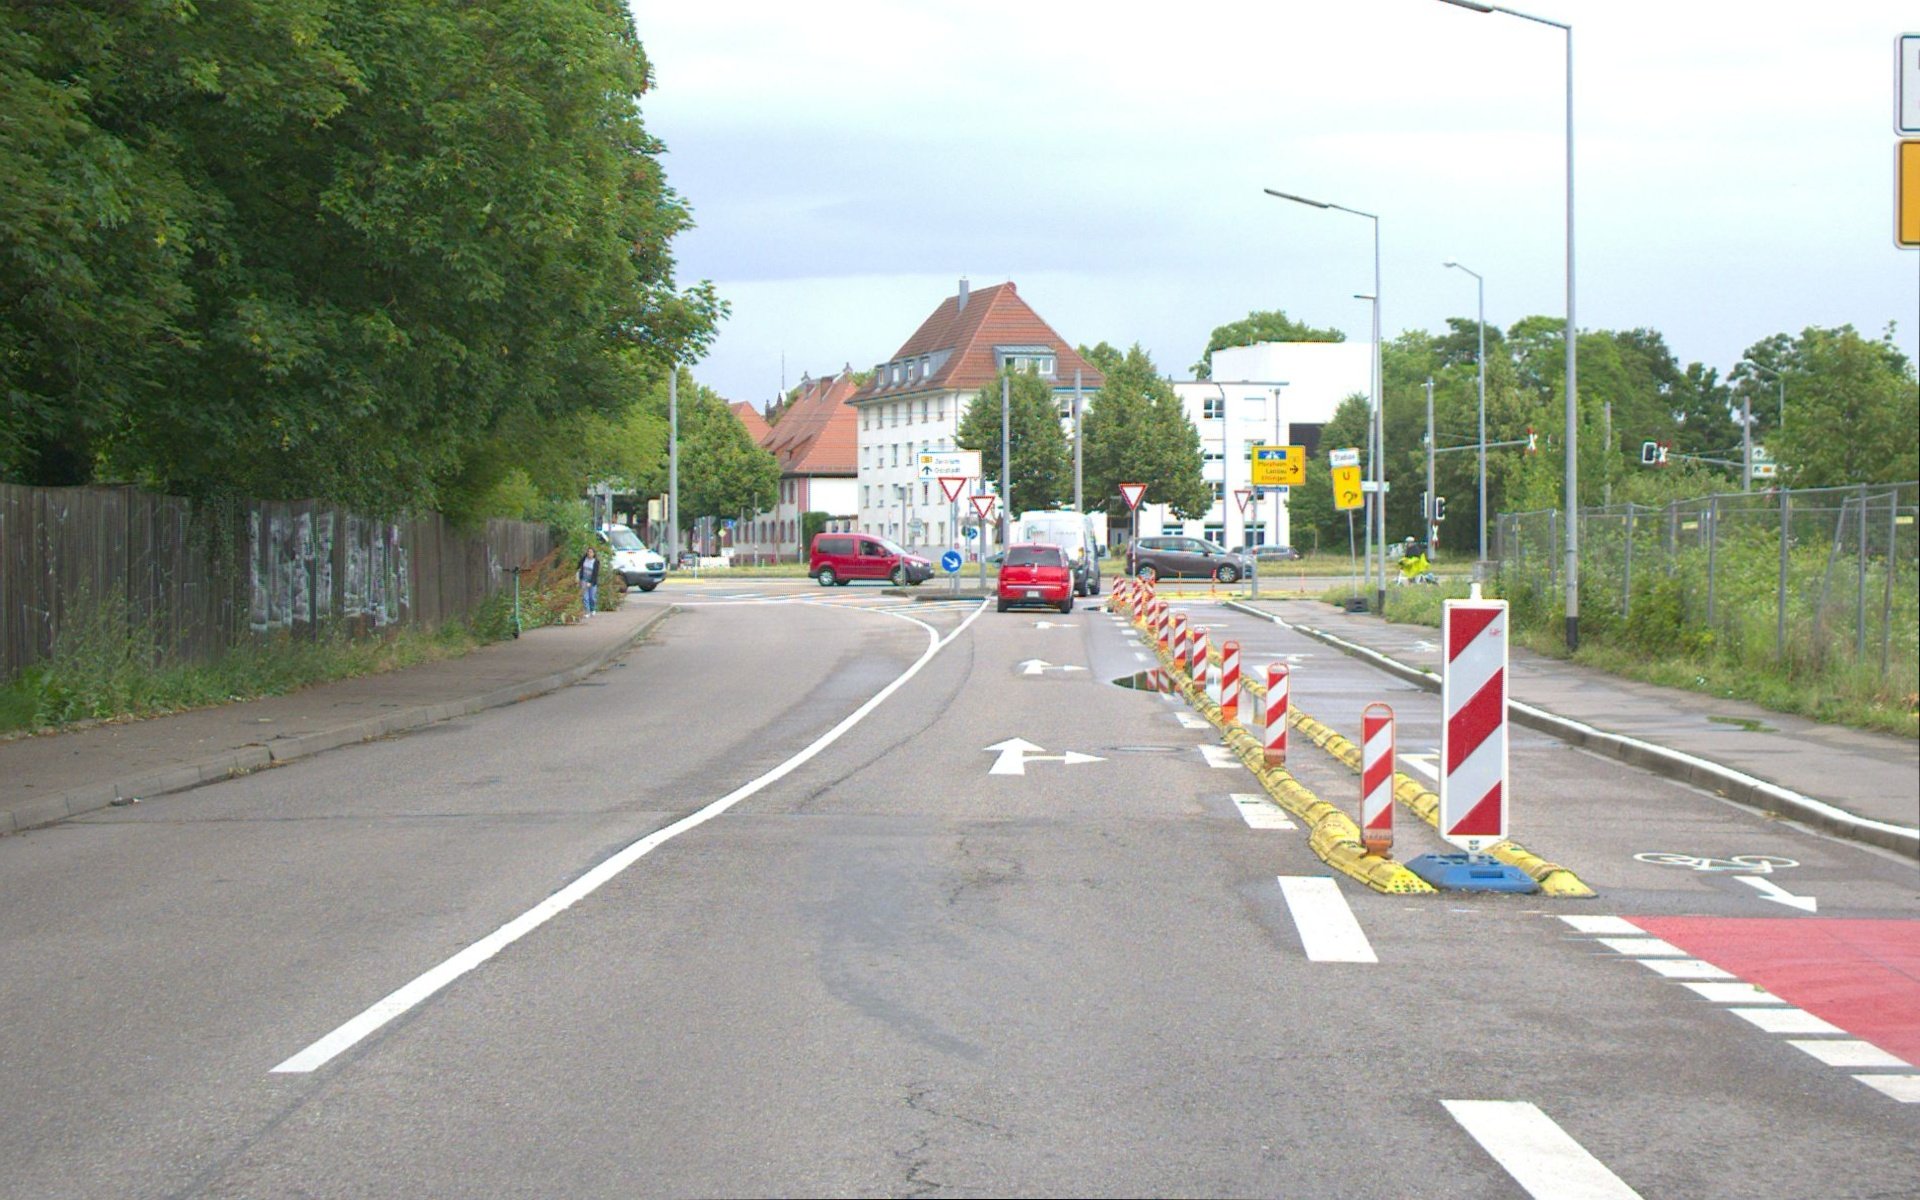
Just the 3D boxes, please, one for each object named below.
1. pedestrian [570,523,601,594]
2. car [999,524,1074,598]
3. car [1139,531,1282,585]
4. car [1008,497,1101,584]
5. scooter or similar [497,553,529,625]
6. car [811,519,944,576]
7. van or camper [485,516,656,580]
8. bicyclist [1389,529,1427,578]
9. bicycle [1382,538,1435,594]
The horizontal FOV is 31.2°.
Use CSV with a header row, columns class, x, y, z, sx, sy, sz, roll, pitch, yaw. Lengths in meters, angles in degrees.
class,x,y,z,sx,sy,sz,roll,pitch,yaw
pedestrian,-8.061,-0.895,73.955,0.612,1.524,0.724,0,1,-2
car,1.787,-0.914,79.591,1.673,1.635,3.627,1,1,2
car,8.540,-1.448,117.576,4.605,1.789,2.110,1,1,45
car,2.863,-1.785,103.099,2.196,2.531,4.961,1,1,8
scooter or similar,-7.415,-0.187,57.080,0.422,1.166,1.304,0,1,-3
car,-2.828,-1.813,118.422,4.197,1.911,2.114,0,1,13
van or camper,-13.155,-1.748,115.921,5.542,2.108,1.997,0,1,27
bicyclist,12.850,-1.339,98.614,1.062,1.396,0.615,0,1,5
bicycle,12.852,-0.986,98.622,1.477,1.606,0.606,0,1,5
